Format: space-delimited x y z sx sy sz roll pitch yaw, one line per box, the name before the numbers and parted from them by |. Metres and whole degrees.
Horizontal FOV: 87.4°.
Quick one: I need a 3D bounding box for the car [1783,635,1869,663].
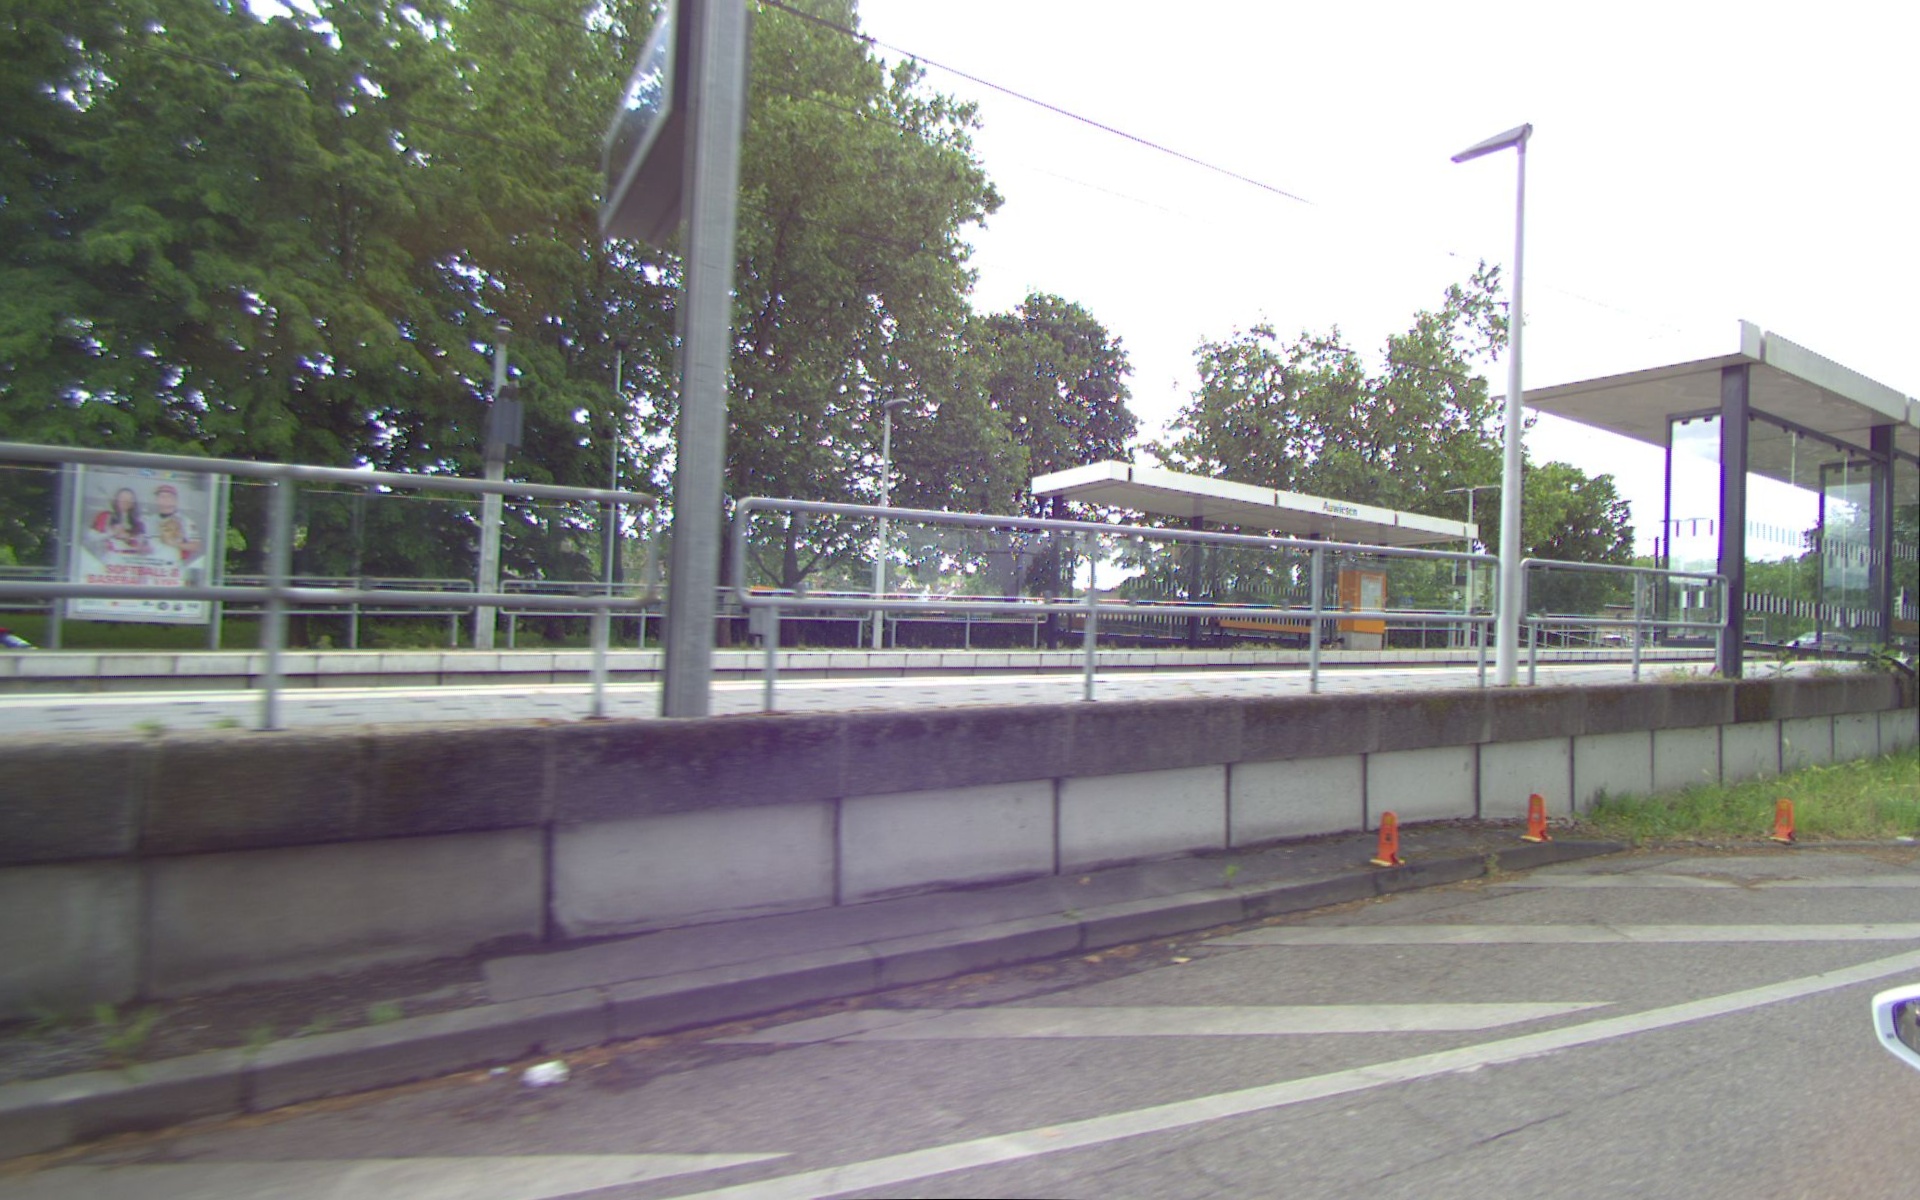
car | 48.110 2.701 55.914 1.959 1.418 4.002 1 -1 13
